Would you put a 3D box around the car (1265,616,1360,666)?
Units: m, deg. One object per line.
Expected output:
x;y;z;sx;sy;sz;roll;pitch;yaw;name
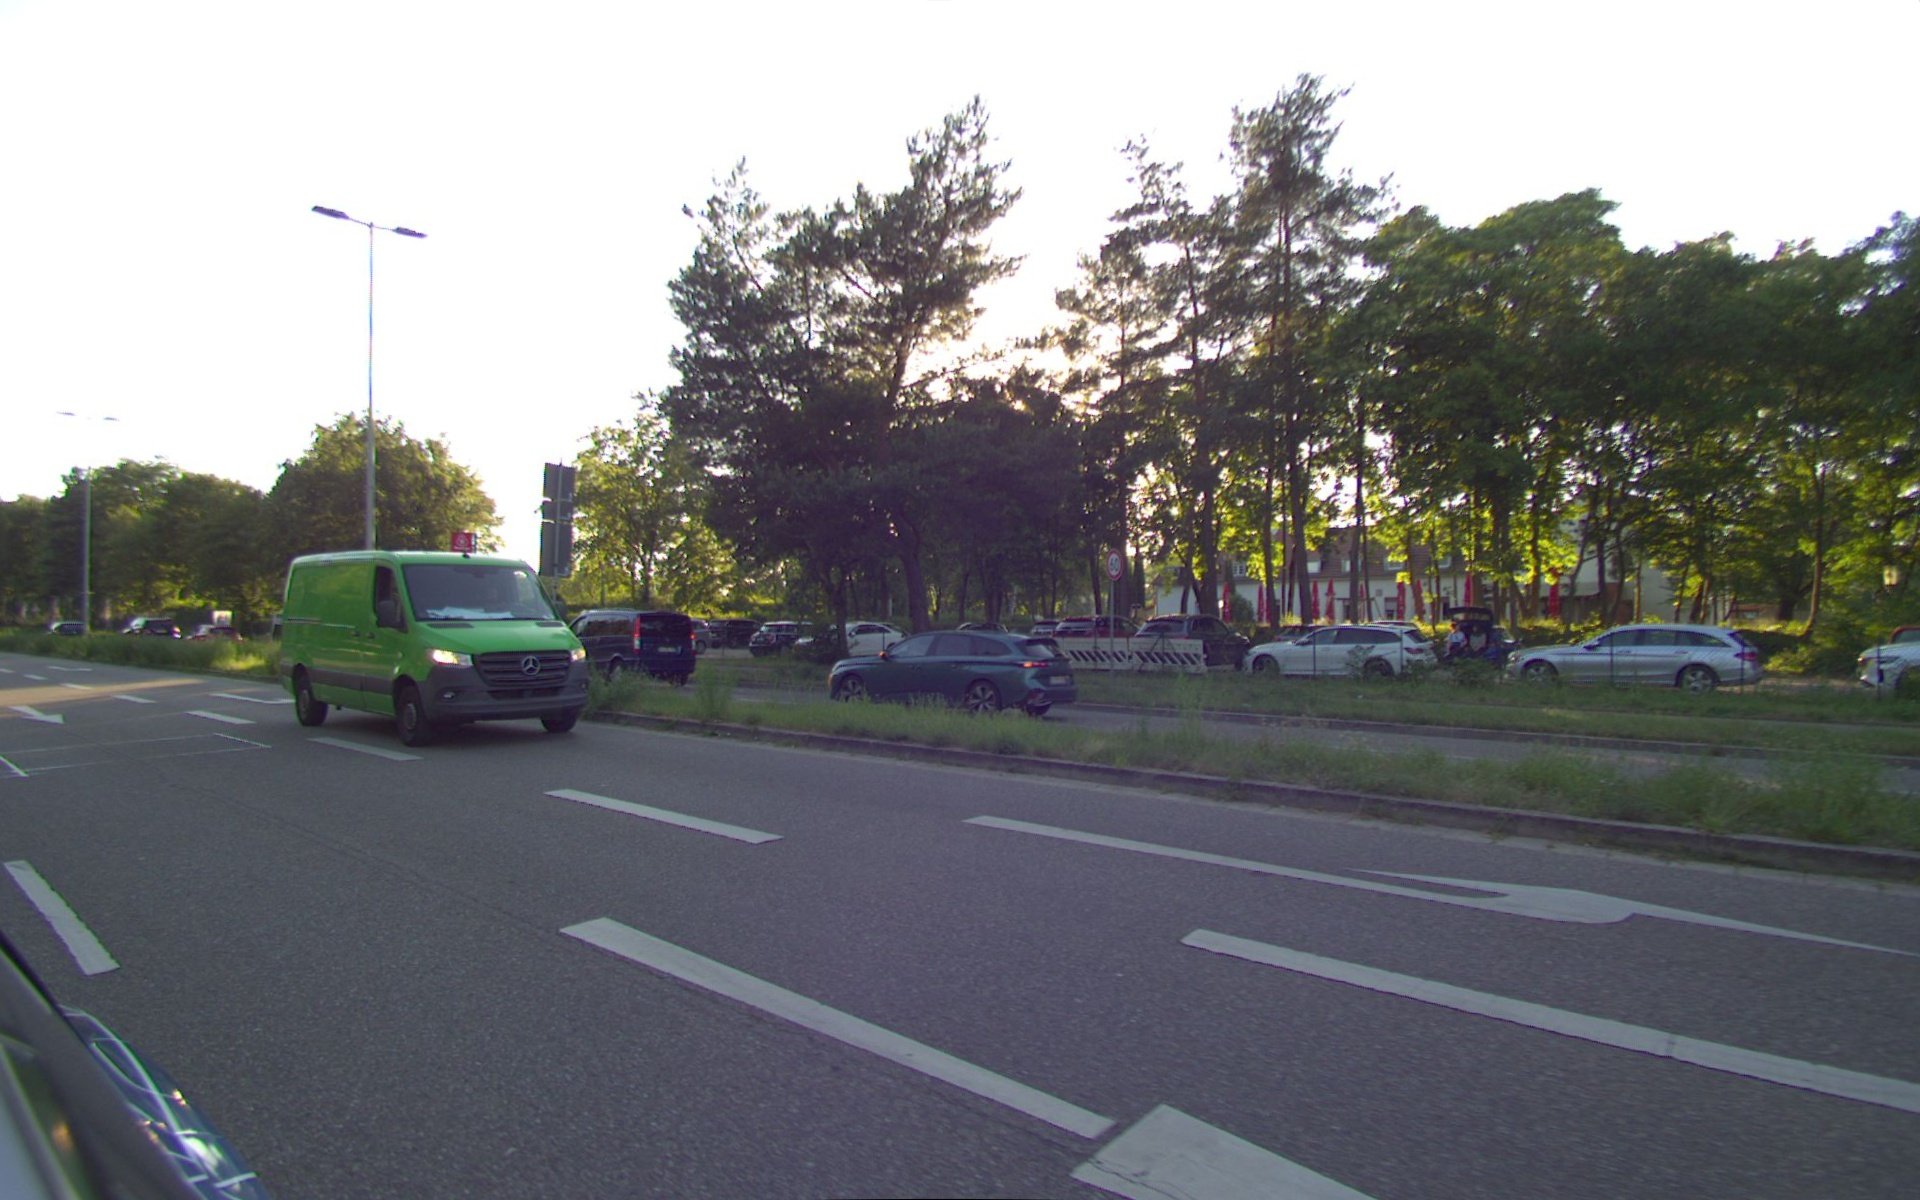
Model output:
12.433;1.415;35.570;1.766;1.663;3.945;-2;-3;41;car

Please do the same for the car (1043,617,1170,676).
4.496;1.362;30.528;1.770;1.629;4.467;-2;-2;39;car

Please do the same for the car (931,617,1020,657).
0.712;1.601;44.356;1.766;1.663;3.944;-2;-2;42;car

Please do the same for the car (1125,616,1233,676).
6.084;1.246;27.958;1.658;1.538;3.058;-2;-2;41;car

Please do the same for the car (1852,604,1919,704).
19.311;0.973;18.078;4.916;1.800;1.974;-1;-2;39;car

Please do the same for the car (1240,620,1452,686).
9.801;1.309;25.914;4.704;1.560;1.974;-1;-2;39;car

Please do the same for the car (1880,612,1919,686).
23.175;1.143;23.976;1.919;1.663;3.942;-2;-2;44;car

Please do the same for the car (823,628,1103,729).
-0.026;1.245;17.305;4.504;1.506;1.976;-1;-2;36;car

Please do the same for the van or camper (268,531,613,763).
-7.035;0.572;13.331;5.892;2.439;1.973;-2;-2;41;van or camper

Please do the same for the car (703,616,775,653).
-12.416;1.936;56.870;3.998;2.029;1.973;-2;-3;41;car

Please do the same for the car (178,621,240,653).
-38.924;1.879;52.428;3.998;1.552;1.737;-1;0;41;car

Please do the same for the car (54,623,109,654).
-48.095;2.072;55.368;3.998;1.552;1.737;-1;0;41;car

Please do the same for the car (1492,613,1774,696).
14.527;1.131;22.039;4.916;1.619;1.974;-1;-2;39;car

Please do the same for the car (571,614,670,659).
-15.452;1.664;46.197;1.765;1.959;3.946;-2;-2;40;car

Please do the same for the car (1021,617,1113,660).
4.371;1.558;40.980;1.766;1.663;3.944;-2;-3;42;car

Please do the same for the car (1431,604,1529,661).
16.226;1.021;31.499;1.766;1.663;3.945;-2;-3;41;car

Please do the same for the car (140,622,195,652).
-44.960;2.049;57.360;3.998;1.552;1.737;-1;0;41;car

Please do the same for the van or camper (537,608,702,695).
-8.787;1.267;25.954;4.575;2.029;1.973;-2;-2;41;van or camper
